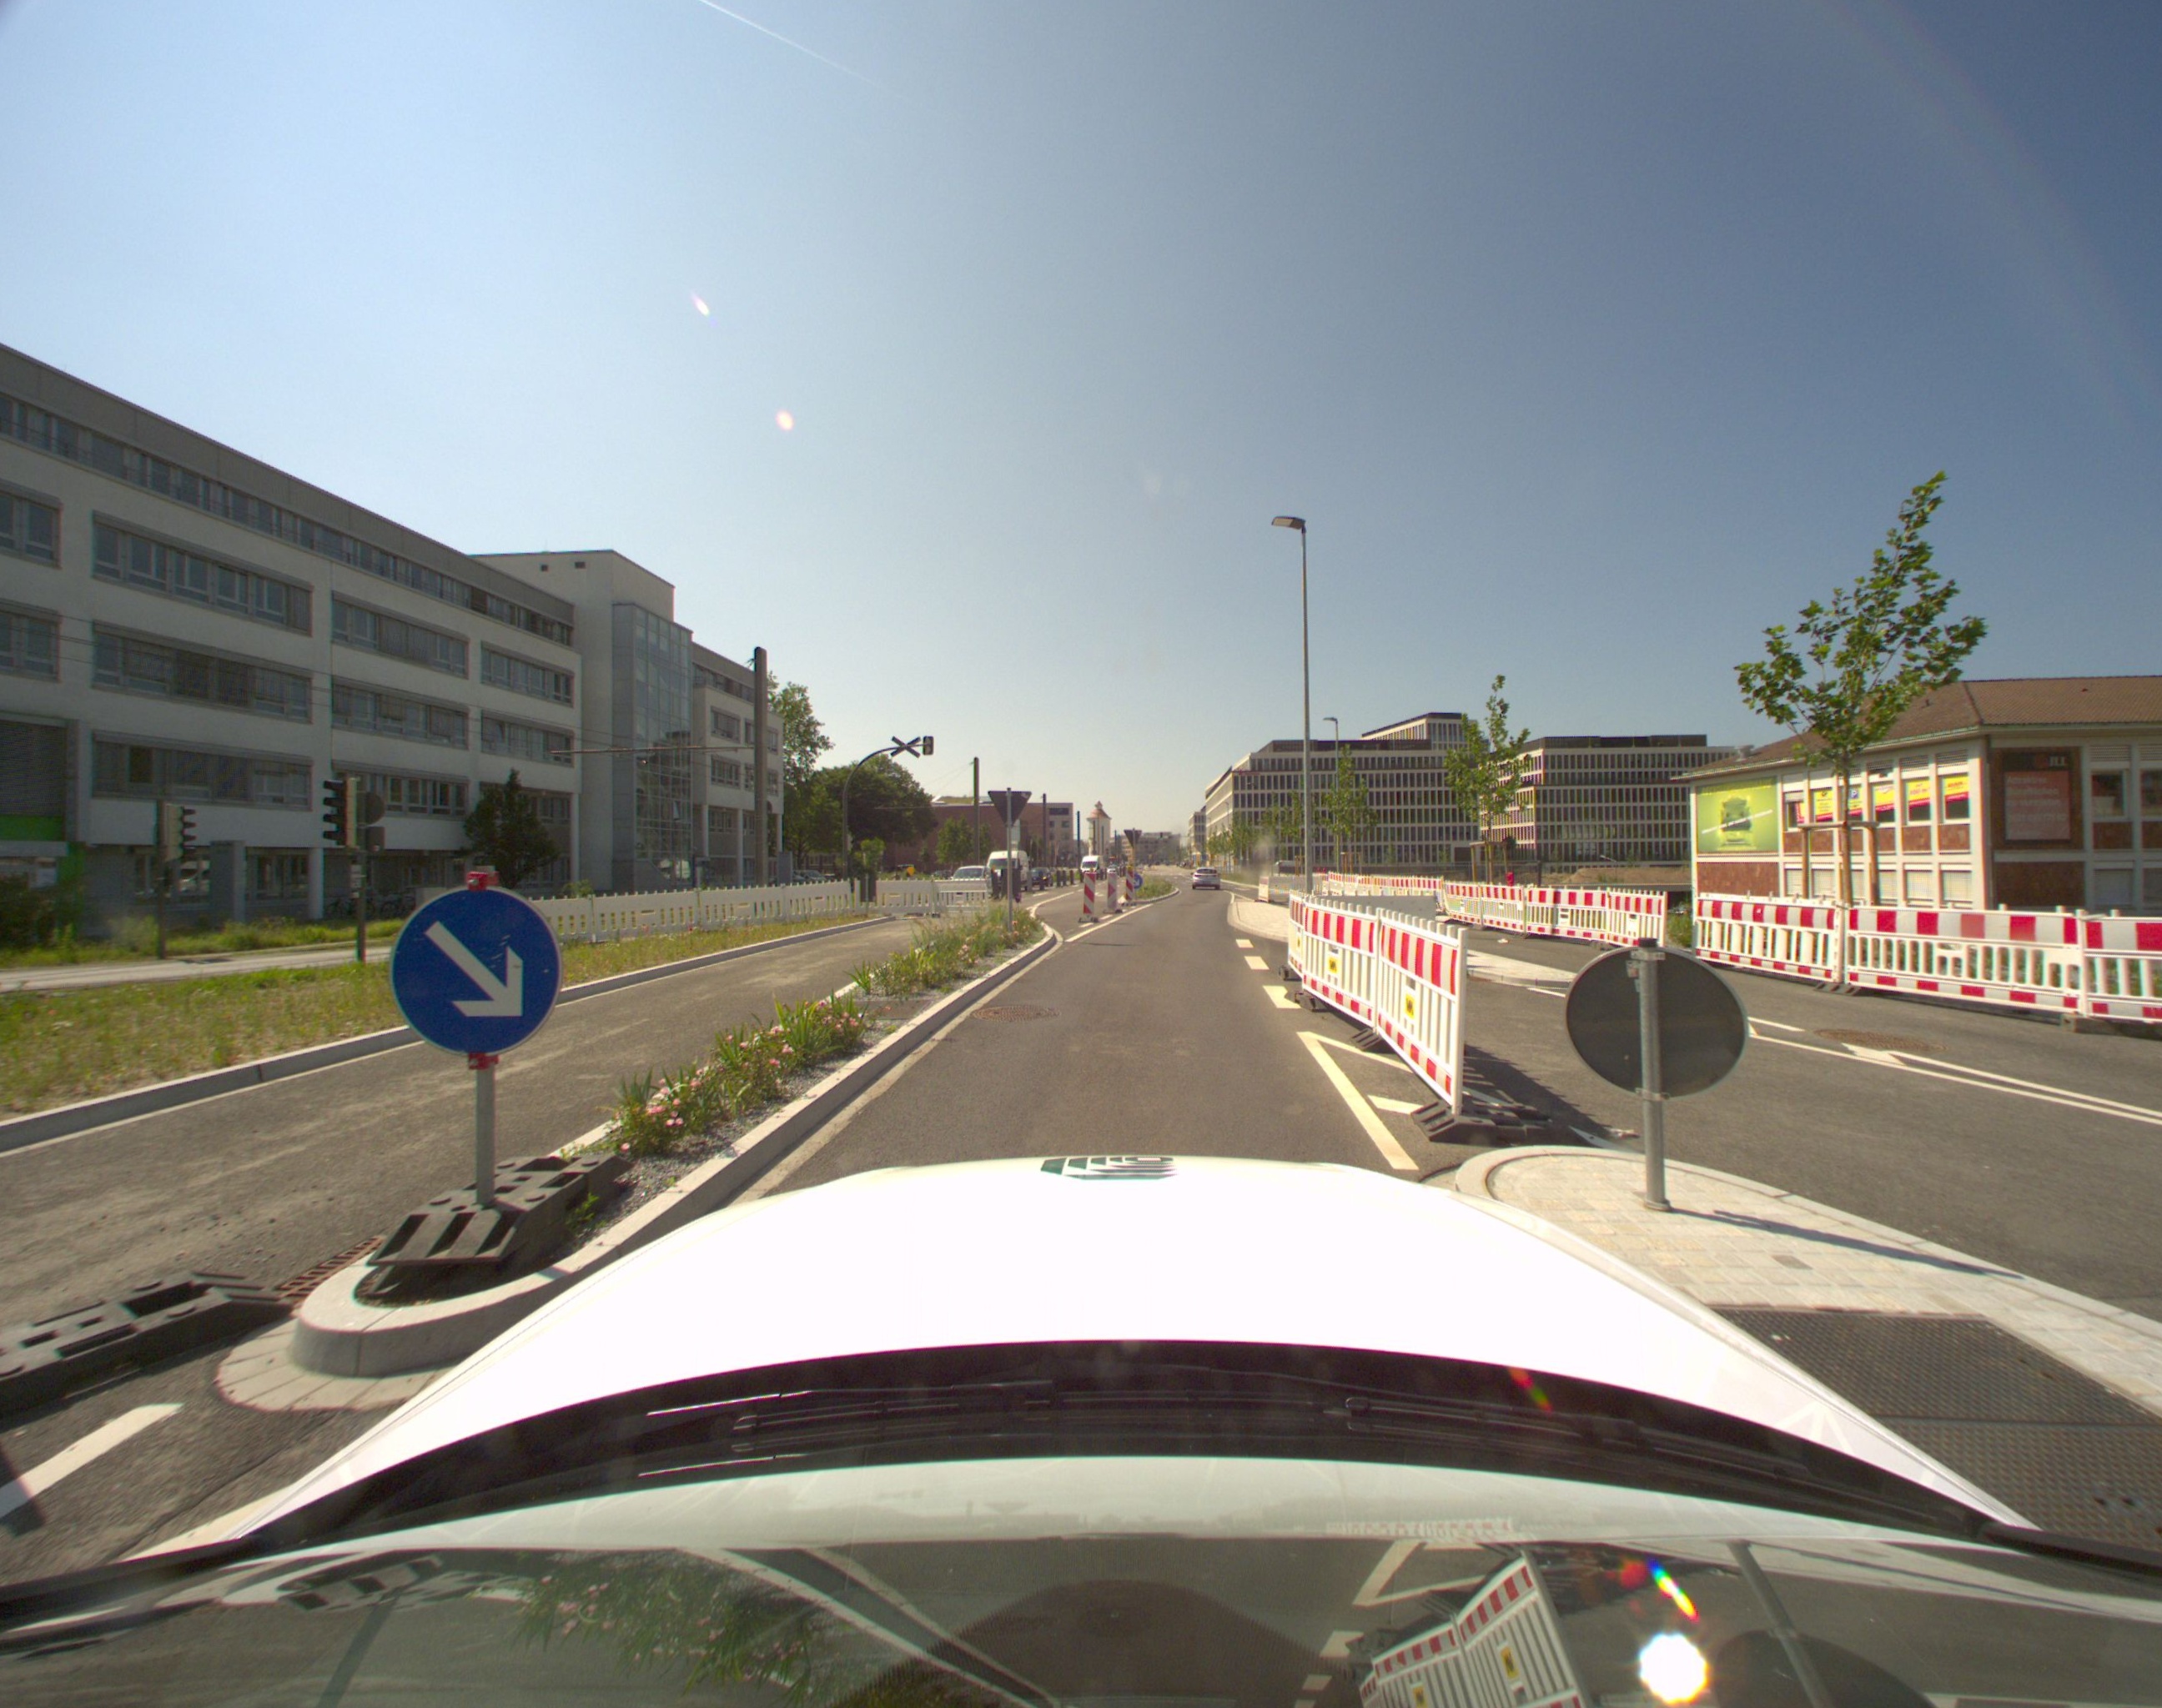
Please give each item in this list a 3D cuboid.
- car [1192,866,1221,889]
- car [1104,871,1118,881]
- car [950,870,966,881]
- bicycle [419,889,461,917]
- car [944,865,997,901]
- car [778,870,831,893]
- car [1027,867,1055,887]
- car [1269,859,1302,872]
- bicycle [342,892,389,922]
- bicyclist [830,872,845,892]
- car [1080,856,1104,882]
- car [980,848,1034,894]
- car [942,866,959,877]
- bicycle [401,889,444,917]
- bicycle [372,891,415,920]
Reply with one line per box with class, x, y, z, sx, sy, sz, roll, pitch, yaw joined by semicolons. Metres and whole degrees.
car;8.196;1.547;53.282;1.762;1.395;3.538;1;-2;7
car;4.385;3.233;119.807;1.665;1.443;4.476;-2;-1;6
car;-20.990;3.656;138.611;1.690;1.761;4.306;0;-1;5
bicycle;-29.430;2.249;37.385;1.639;1.189;0.439;1;-1;5
car;-5.217;1.333;38.992;1.573;1.541;3.983;-3;-1;5
car;-26.591;2.639;78.223;5.011;2.180;2.127;-1;-1;31
car;-3.047;1.747;63.059;1.538;1.457;4.198;-3;-1;5
car;39.453;2.174;157.348;5.809;2.270;2.149;2;0;4
bicycle;-29.662;2.194;33.742;1.636;1.189;0.523;1;-1;10
bicyclist;-18.634;2.122;62.279;0.750;1.539;1.079;0;-2;6
car;1.300;1.719;92.788;2.067;2.740;5.996;-2;-1;6
car;-4.485;1.048;50.316;2.020;2.579;6.204;-3;-1;6
car;-21.247;2.871;132.544;1.690;1.761;3.945;0;-1;5
bicycle;-29.606;2.209;36.638;1.638;1.189;0.439;1;-1;6
bicycle;-29.681;2.200;35.159;1.636;1.189;0.439;1;-1;10
